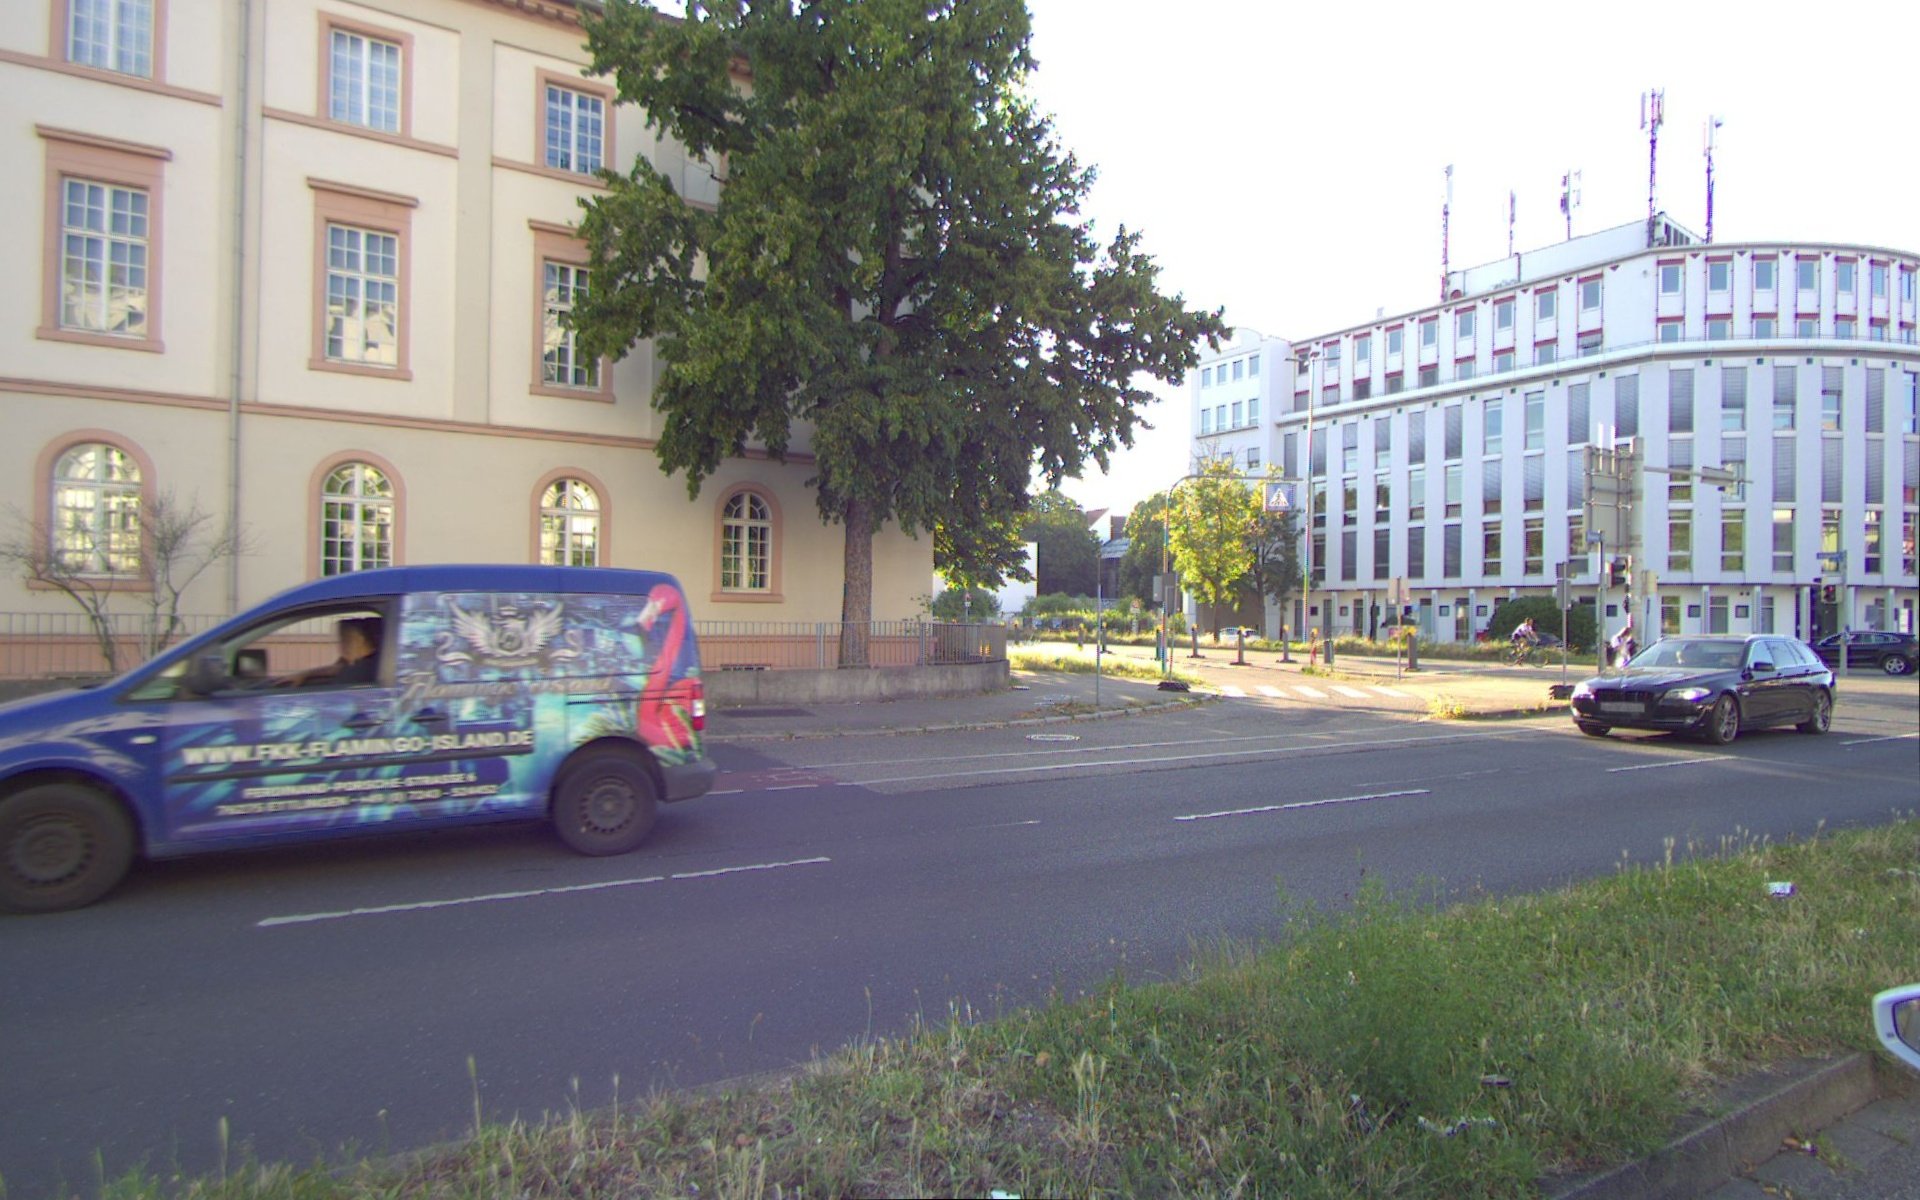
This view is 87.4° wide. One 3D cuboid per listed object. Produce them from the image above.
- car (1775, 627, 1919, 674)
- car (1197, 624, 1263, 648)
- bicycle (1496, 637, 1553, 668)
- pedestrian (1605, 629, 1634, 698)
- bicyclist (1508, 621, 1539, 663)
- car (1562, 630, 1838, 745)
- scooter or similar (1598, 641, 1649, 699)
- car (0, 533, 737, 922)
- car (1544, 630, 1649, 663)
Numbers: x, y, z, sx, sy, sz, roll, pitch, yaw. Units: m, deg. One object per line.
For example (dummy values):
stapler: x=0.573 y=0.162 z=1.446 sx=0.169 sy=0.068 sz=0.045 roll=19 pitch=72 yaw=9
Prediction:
car: x=33.525 y=1.873 z=37.808 sx=1.777 sy=1.615 sz=4.092 roll=2 pitch=-2 yaw=-34
car: x=16.423 y=2.160 z=61.249 sx=1.634 sy=1.390 sz=3.757 roll=1 pitch=-1 yaw=-35
bicycle: x=20.686 y=1.914 z=36.824 sx=0.498 sy=1.056 sz=1.786 roll=1 pitch=-1 yaw=-35
pedestrian: x=14.674 y=1.403 z=22.366 sx=0.332 sy=1.525 sz=0.470 roll=1 pitch=-1 yaw=-41
bicyclist: x=20.671 y=1.539 z=36.864 sx=0.453 sy=1.516 sz=0.879 roll=1 pitch=-1 yaw=-36
car: x=10.917 y=1.194 z=14.767 sx=4.190 sy=1.461 sz=1.690 roll=1 pitch=-1 yaw=-29
scooter or similar: x=14.720 y=1.544 z=22.287 sx=0.368 sy=1.250 sz=0.885 roll=1 pitch=-1 yaw=-40
car: x=-3.774 y=0.647 z=6.404 sx=4.182 sy=1.841 sz=1.983 roll=1 pitch=-1 yaw=-32
car: x=28.250 y=2.036 z=44.647 sx=1.819 sy=1.313 sz=3.579 roll=1 pitch=-1 yaw=-37
